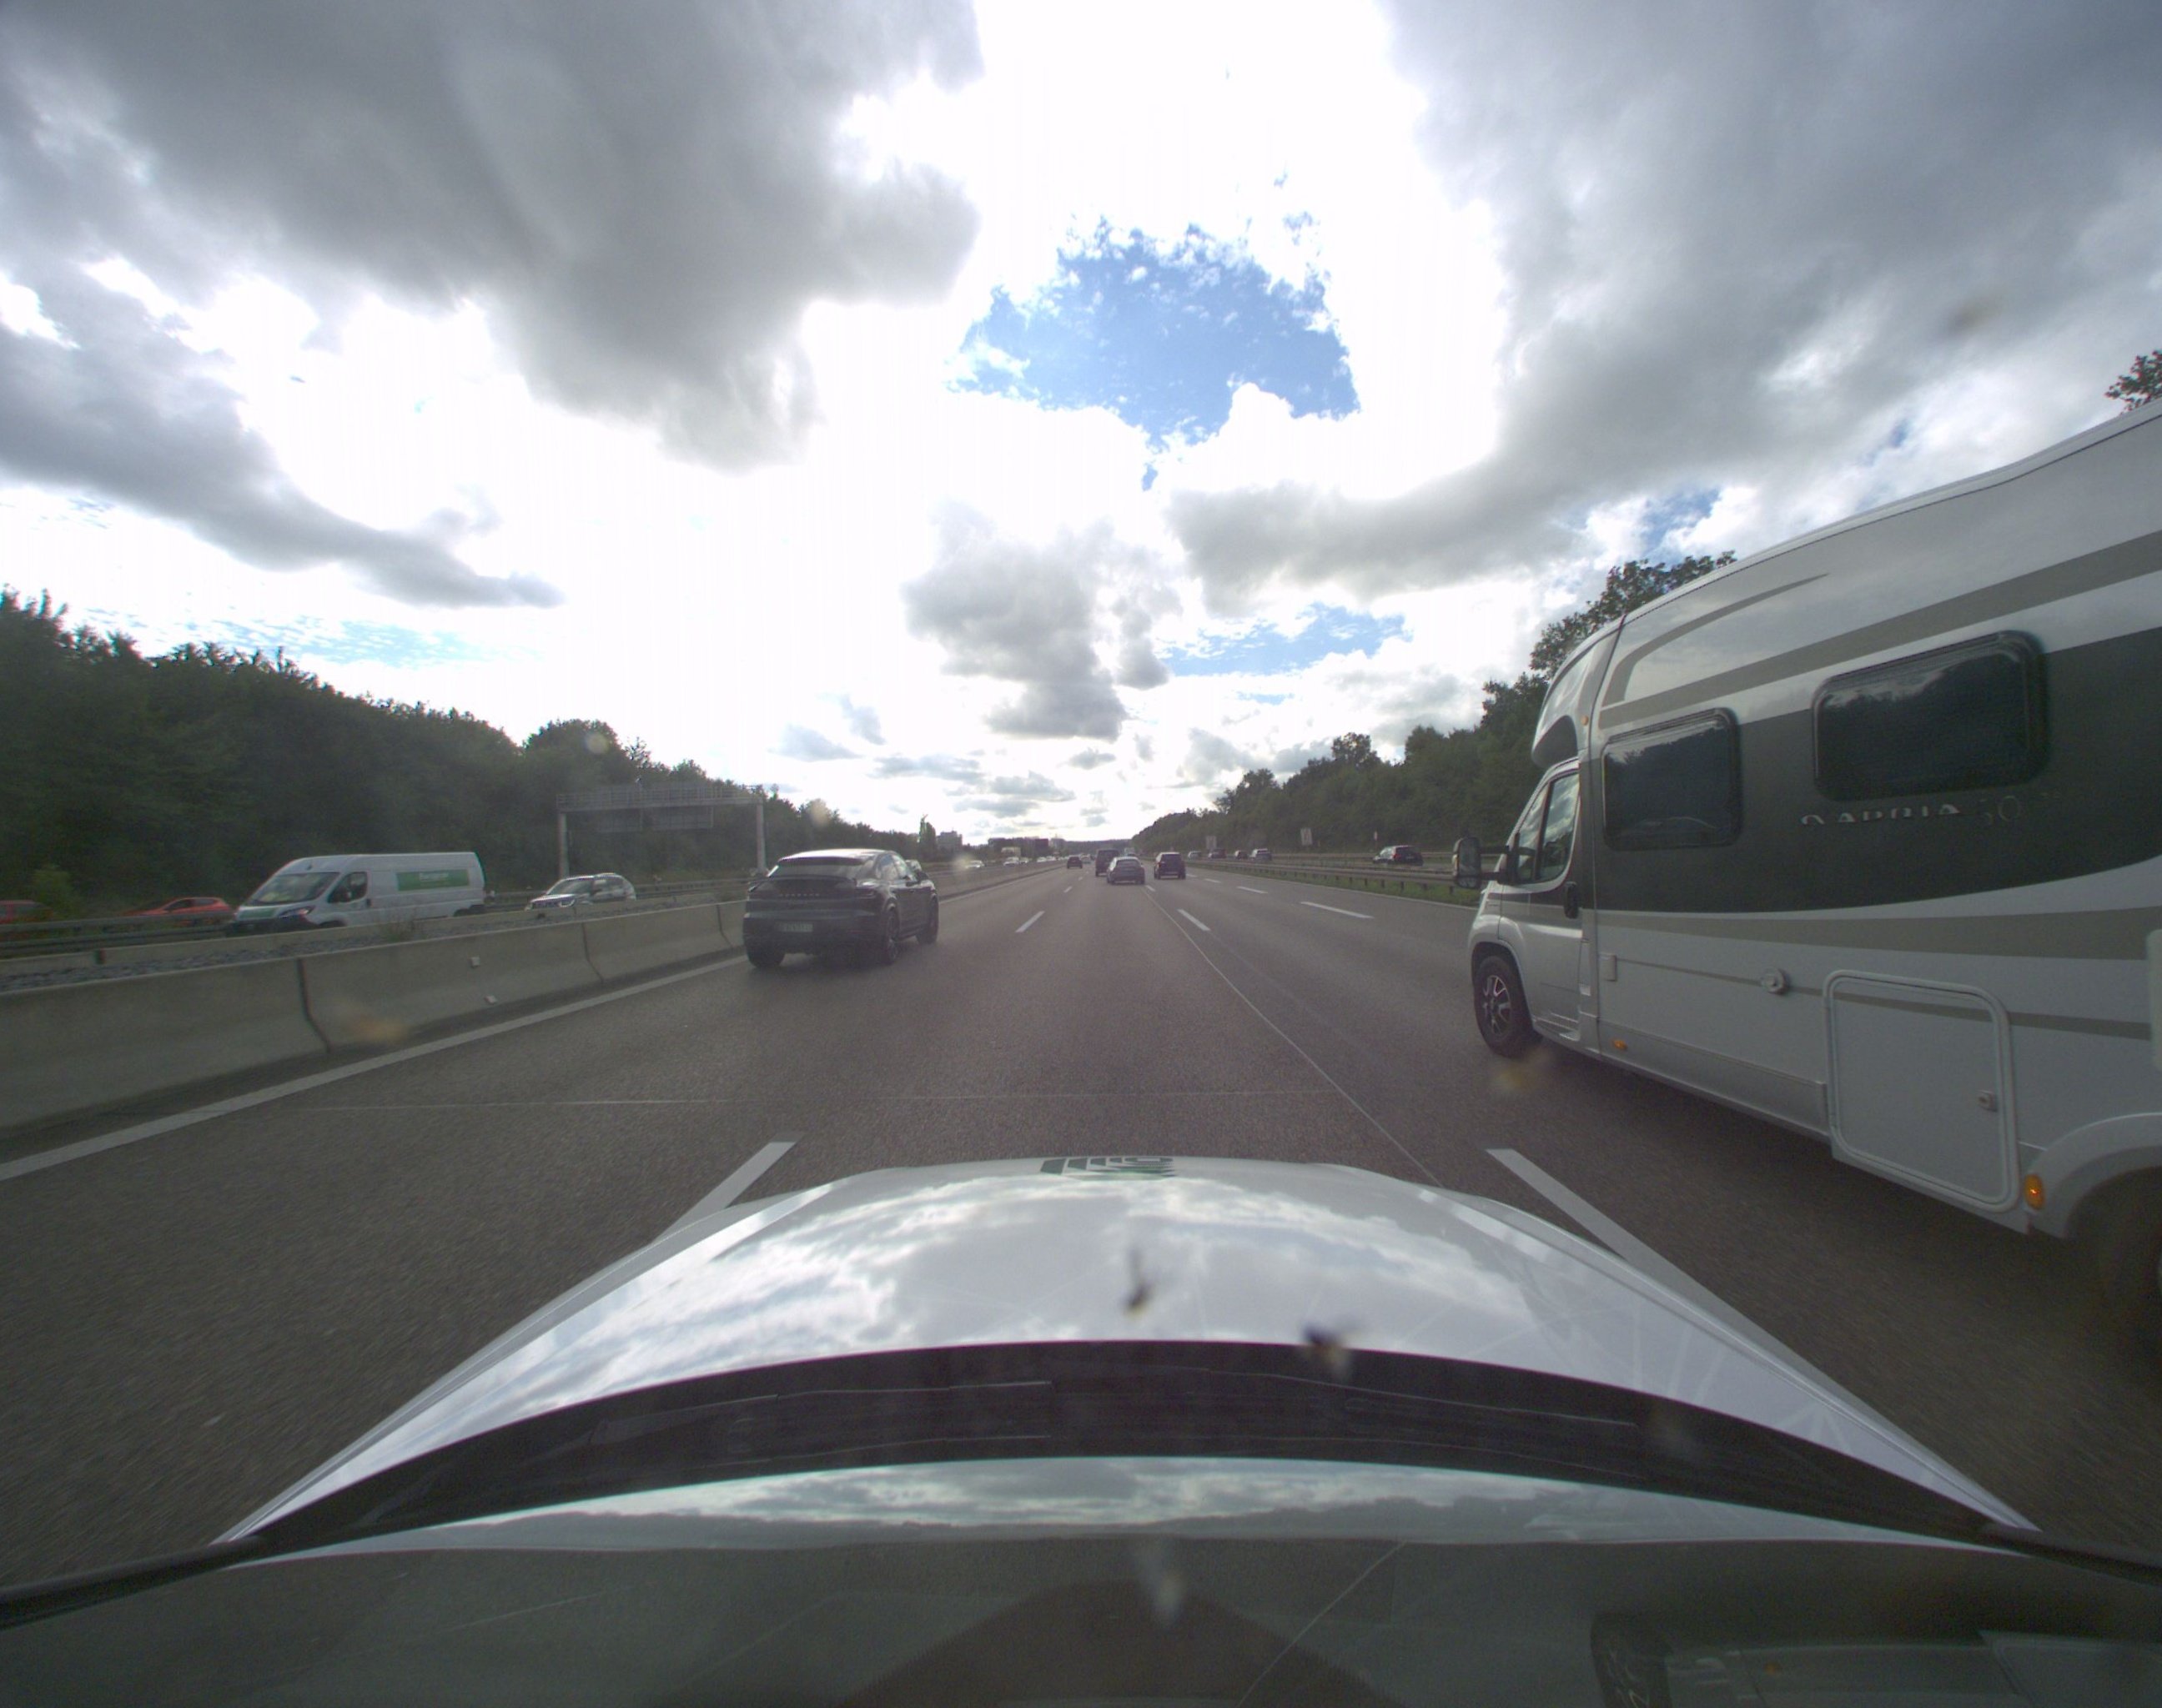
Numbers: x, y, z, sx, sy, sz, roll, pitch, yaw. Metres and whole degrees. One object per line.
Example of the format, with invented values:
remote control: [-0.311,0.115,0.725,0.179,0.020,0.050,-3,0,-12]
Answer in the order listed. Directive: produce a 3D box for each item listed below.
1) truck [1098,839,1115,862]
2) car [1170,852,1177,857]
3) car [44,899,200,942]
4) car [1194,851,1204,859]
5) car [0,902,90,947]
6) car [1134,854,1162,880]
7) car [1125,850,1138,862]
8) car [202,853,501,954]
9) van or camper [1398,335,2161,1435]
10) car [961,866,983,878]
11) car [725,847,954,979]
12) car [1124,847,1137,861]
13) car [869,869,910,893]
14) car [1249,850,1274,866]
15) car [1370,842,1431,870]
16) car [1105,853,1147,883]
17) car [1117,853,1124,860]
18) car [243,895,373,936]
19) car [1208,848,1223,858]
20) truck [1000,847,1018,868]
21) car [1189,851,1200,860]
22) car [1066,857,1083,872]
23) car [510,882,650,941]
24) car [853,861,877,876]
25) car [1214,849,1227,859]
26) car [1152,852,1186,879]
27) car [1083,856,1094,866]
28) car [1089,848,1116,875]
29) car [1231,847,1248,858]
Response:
truck: [5.189,-0.661,163.501,3.251,4.375,11.030,-1,0,2]
car: [28.395,0.078,251.117,1.746,1.517,4.190,-2,0,1]
car: [-39.472,2.693,33.670,1.558,1.365,4.052,-2,0,1]
car: [26.692,0.145,184.111,1.745,1.695,4.191,-2,0,1]
car: [-36.471,2.418,27.245,1.558,1.365,4.052,-2,0,1]
car: [4.845,0.906,59.515,1.714,1.724,4.393,-2,0,1]
car: [8.128,0.324,130.830,1.906,1.919,4.031,-2,0,1]
car: [-19.315,1.161,22.217,2.156,2.271,6.462,-2,0,1]
van or camper: [3.939,0.065,3.312,2.460,2.722,7.664,-1,0,1]
car: [-13.028,2.097,97.594,1.764,1.294,4.676,-2,0,1]
car: [-3.535,0.754,13.214,1.905,1.636,5.502,-2,0,1]
car: [8.377,-0.038,137.879,1.866,2.357,4.283,-2,0,1]
car: [-14.230,1.973,60.743,1.768,1.561,4.782,-2,0,1]
car: [20.275,0.430,91.599,1.840,1.650,4.307,-4,0,2]
car: [18.780,0.107,48.048,1.836,1.484,4.527,-4,0,2]
car: [2.306,0.707,42.954,1.717,1.479,4.386,-2,0,-3]
car: [10.485,0.686,218.480,1.745,1.695,4.191,-2,0,1]
car: [-32.506,2.541,34.420,1.558,1.365,4.052,-2,0,1]
car: [21.105,-0.102,127.915,1.590,1.546,4.190,-2,0,0]
truck: [-15.027,0.713,170.205,2.886,4.323,5.164,-3,0,2]
car: [22.151,0.369,159.077,1.745,1.695,4.191,-2,0,1]
car: [-0.760,1.267,97.918,1.866,1.698,4.073,-2,0,1]
car: [-15.487,1.729,25.453,1.731,1.511,4.052,-2,0,1]
car: [-36.171,2.371,136.509,1.985,2.234,5.895,-3,0,3]
car: [25.619,0.007,149.636,1.590,1.804,3.824,-2,0,0]
car: [5.462,0.712,50.943,1.691,1.564,4.114,-2,0,1]
car: [1.286,1.146,140.031,1.691,1.611,4.114,-2,0,1]
car: [1.607,0.522,59.863,1.848,1.910,4.261,-2,0,1]
car: [24.624,-0.219,126.291,1.723,1.545,4.305,-4,0,0]
